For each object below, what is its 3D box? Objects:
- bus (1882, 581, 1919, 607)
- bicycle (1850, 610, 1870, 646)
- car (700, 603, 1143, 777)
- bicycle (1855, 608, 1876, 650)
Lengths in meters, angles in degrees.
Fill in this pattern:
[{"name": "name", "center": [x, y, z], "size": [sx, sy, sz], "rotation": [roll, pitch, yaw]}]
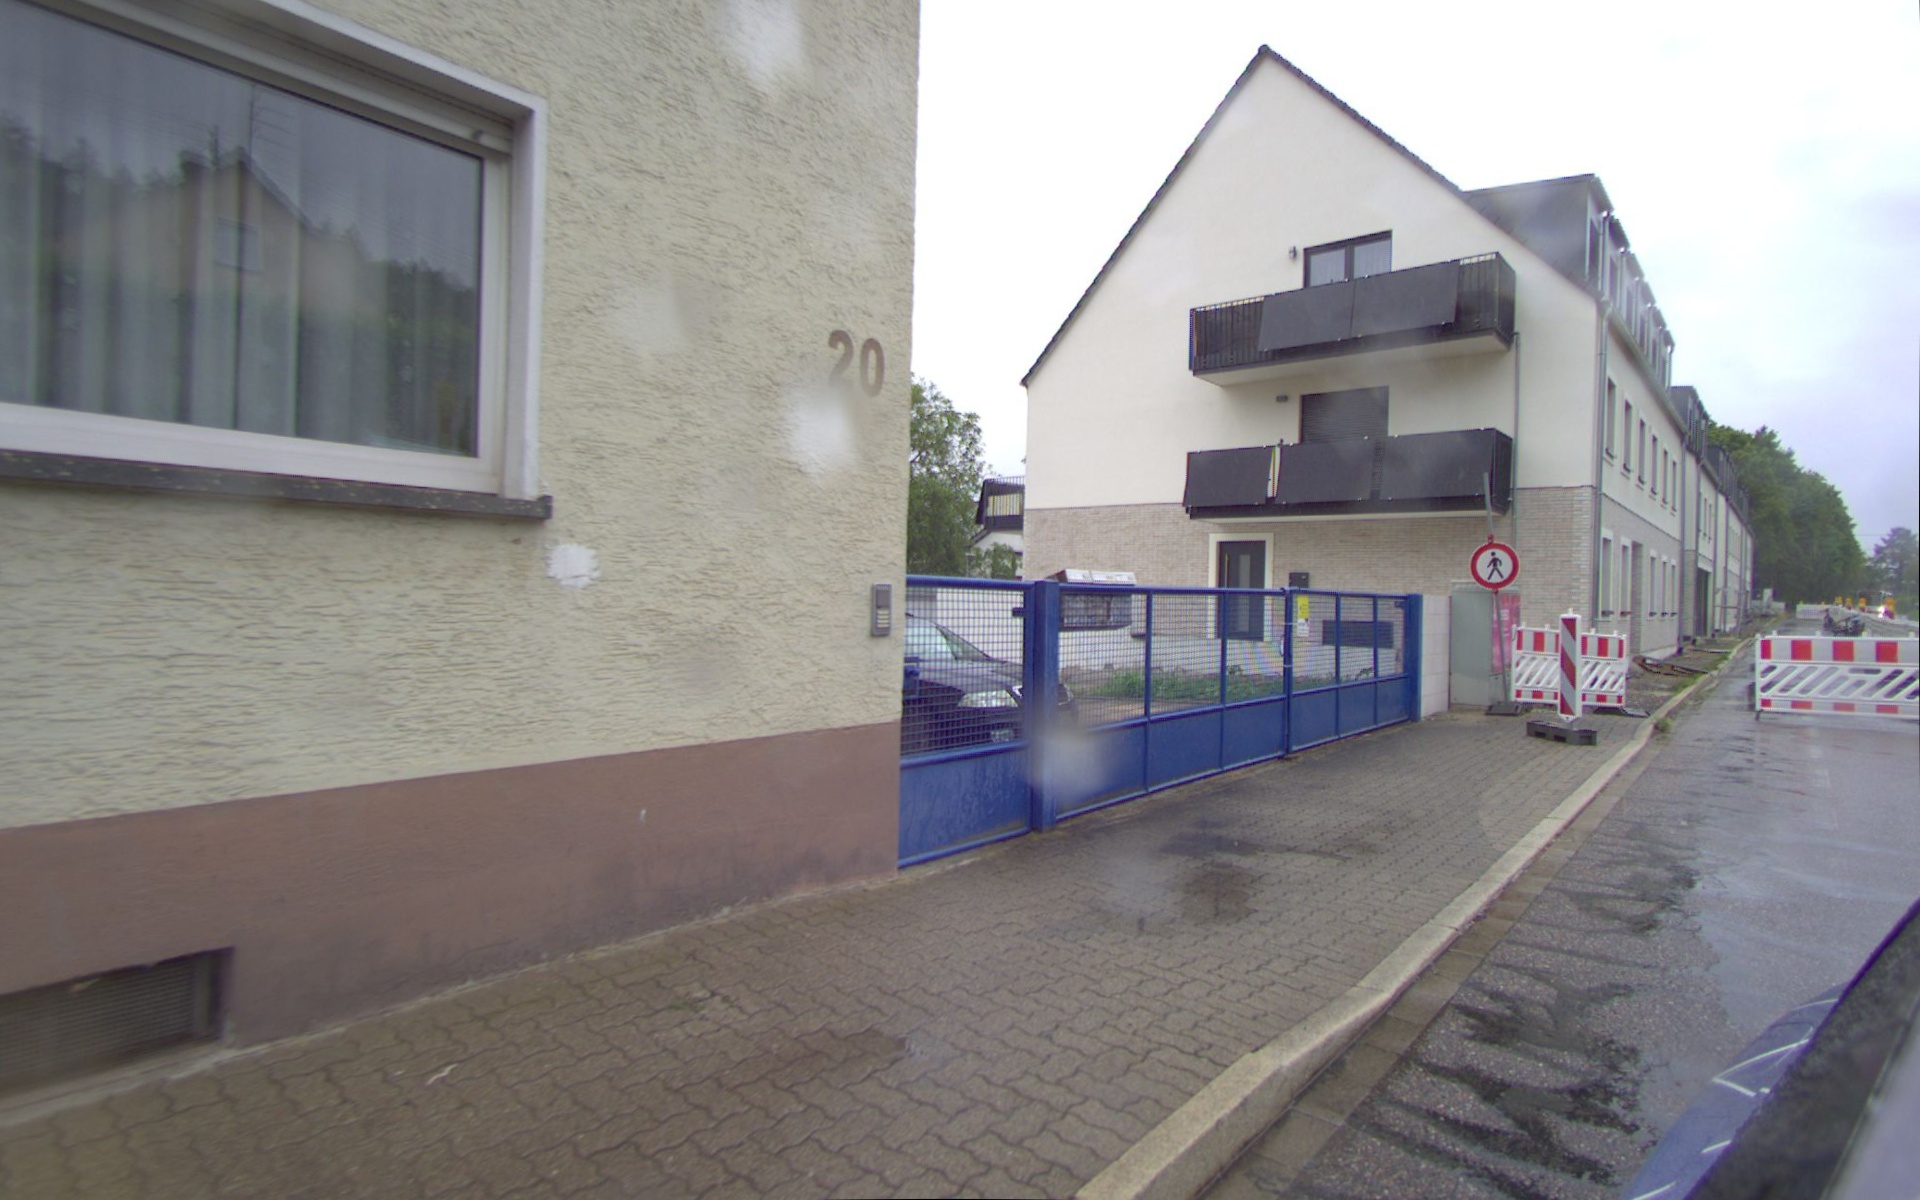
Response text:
[{"name": "bus", "center": [120.773, -0.752, 129.355], "size": [14.294, 3.041, 2.683], "rotation": [0, 3, -42]}, {"name": "bicycle", "center": [27.294, 0.847, 30.693], "size": [0.406, 1.041, 1.202], "rotation": [3, 2, 42]}, {"name": "car", "center": [-0.519, 0.770, 9.859], "size": [4.138, 1.319, 1.884], "rotation": [-3, -2, 41]}, {"name": "bicycle", "center": [25.925, 0.817, 28.964], "size": [0.406, 1.157, 1.202], "rotation": [3, 2, 42]}]
